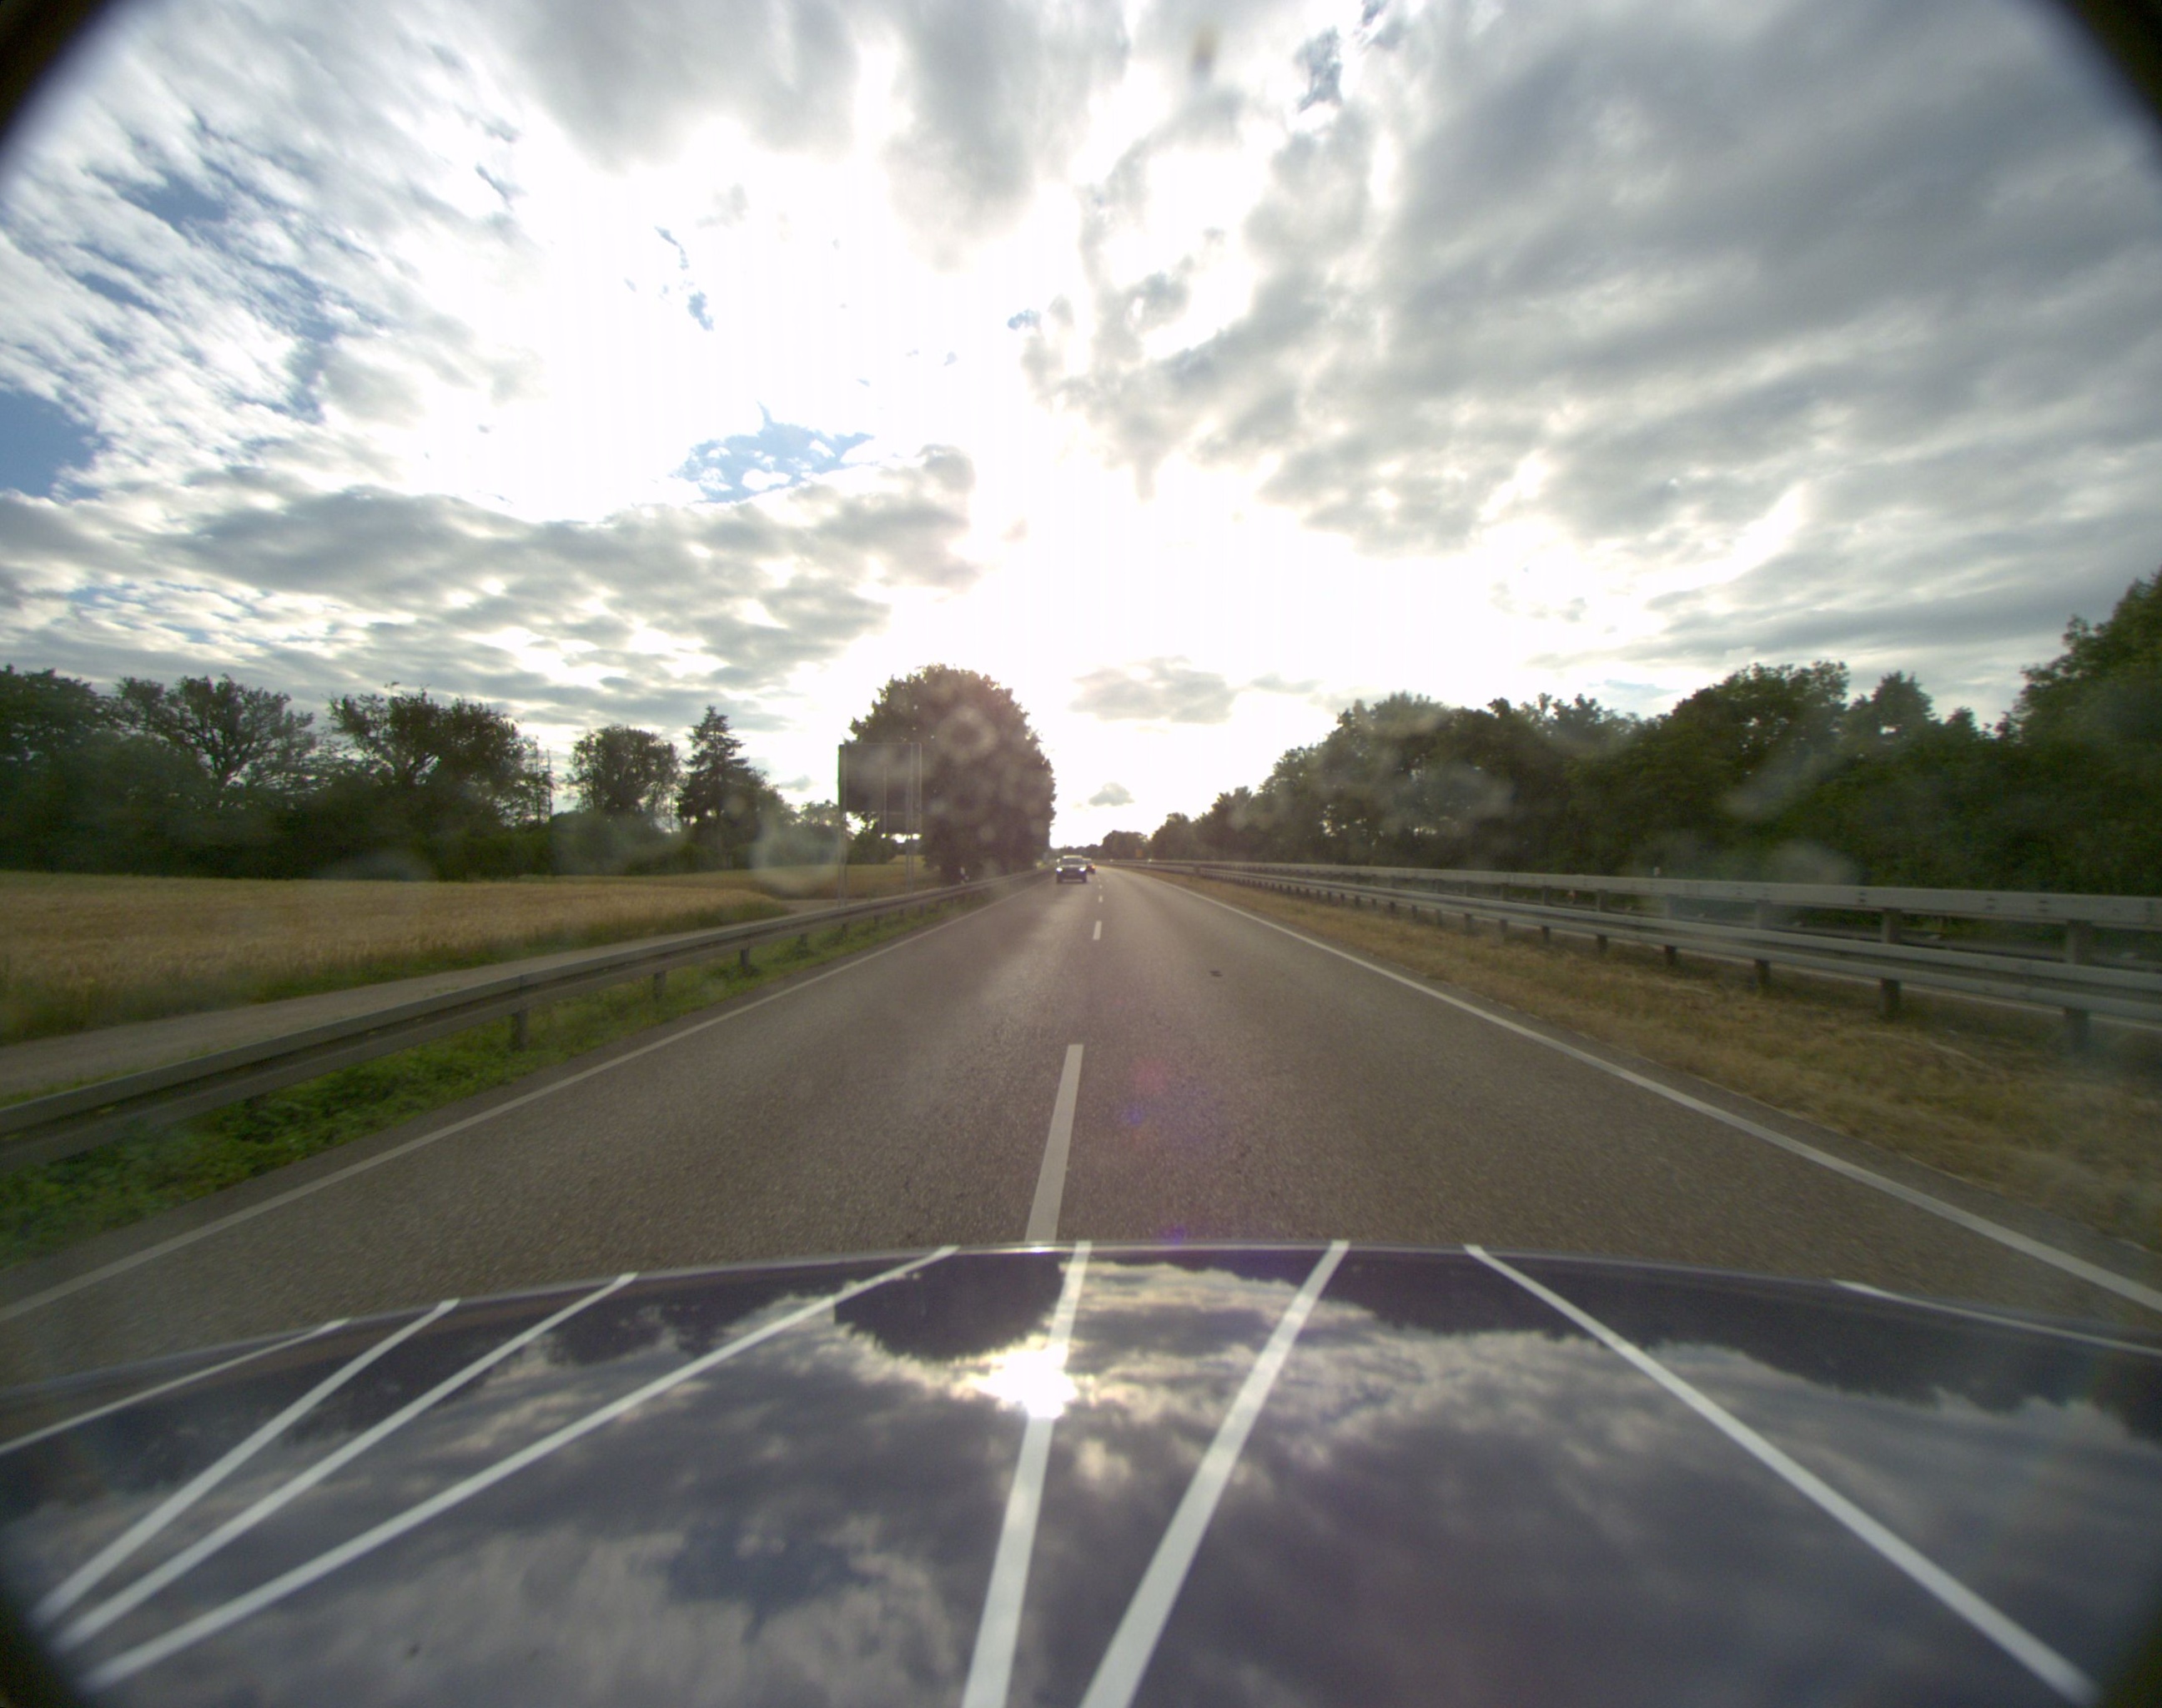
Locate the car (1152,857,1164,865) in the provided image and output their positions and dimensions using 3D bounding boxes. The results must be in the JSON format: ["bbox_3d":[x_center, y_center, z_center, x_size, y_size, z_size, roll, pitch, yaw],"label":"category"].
[{"bbox_3d":[15.340,1.412,151.561,1.829,1.535,4.587,1,0,0],"label":"car"}]

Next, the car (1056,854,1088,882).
[{"bbox_3d":[-0.526,0.826,48.165,1.863,1.636,4.000,-1,0,1],"label":"car"}]

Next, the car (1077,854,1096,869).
[{"bbox_3d":[0.547,0.673,74.786,1.775,1.389,4.000,-1,0,0],"label":"car"}]
